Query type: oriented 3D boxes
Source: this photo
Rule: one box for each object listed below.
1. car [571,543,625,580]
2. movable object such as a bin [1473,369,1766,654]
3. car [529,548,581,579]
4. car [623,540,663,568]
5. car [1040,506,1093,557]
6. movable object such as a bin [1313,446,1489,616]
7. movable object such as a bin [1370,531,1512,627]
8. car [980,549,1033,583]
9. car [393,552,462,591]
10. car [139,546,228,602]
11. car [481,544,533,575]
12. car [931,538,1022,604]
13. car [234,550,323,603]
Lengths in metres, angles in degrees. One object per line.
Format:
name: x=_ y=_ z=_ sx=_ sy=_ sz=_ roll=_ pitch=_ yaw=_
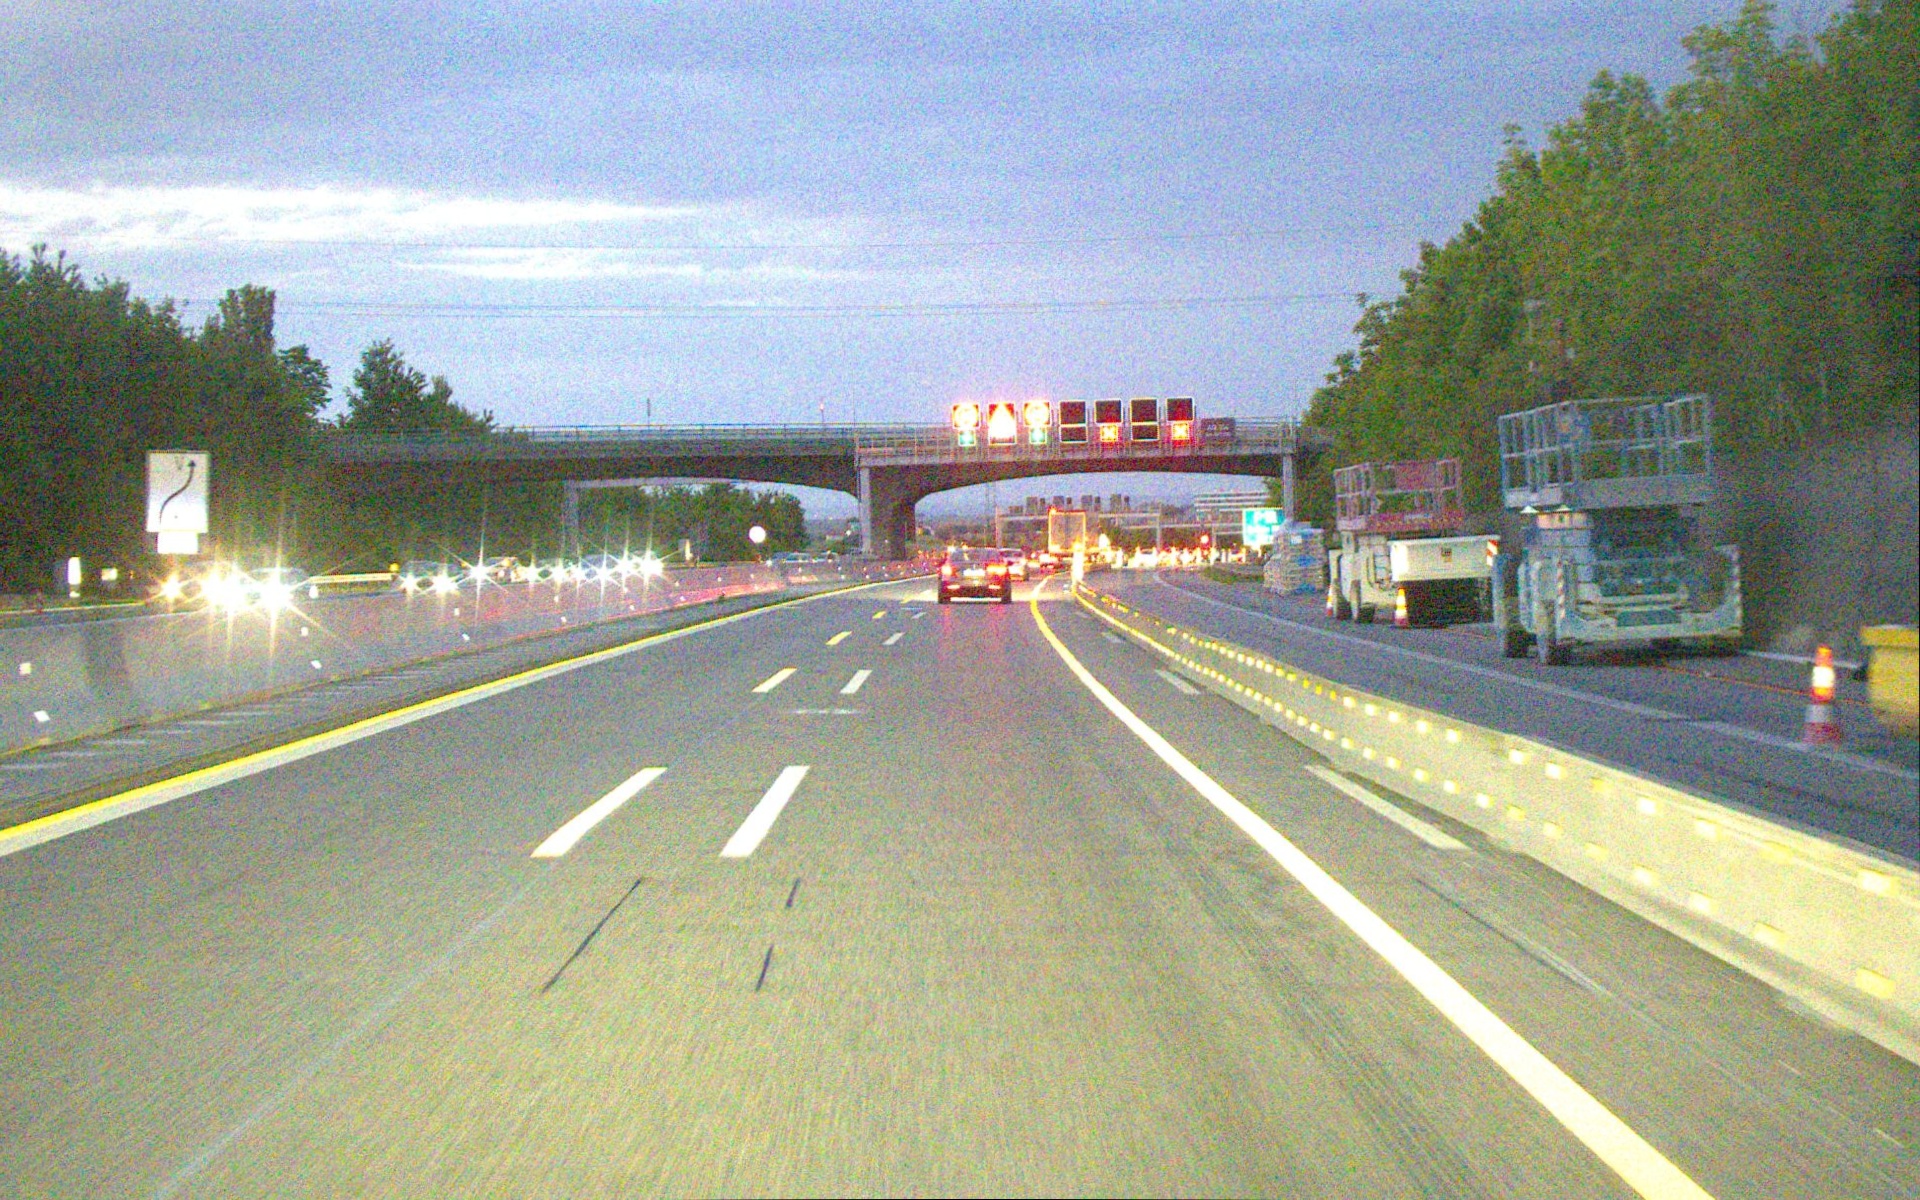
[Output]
car: x=-17.528 y=-1.865 z=166.829 sx=1.901 sy=1.732 sz=4.807 roll=1 pitch=1 yaw=2
movable object such as a bin: x=8.212 y=-1.073 z=43.431 sx=2.564 sy=3.306 sz=5.579 roll=-1 pitch=1 yaw=0
car: x=-19.952 y=-1.806 z=169.658 sx=1.810 sy=1.480 sz=4.701 roll=1 pitch=1 yaw=2
car: x=-19.548 y=-2.824 z=212.161 sx=1.804 sy=1.632 sz=4.751 roll=1 pitch=1 yaw=3
car: x=7.436 y=-4.766 z=240.149 sx=3.605 sy=3.384 sz=8.014 roll=1 pitch=1 yaw=2
movable object such as a bin: x=8.438 y=-1.300 z=66.388 sx=2.620 sy=3.097 sz=5.806 roll=-1 pitch=1 yaw=0
movable object such as a bin: x=8.552 y=-0.376 z=61.436 sx=1.993 sy=1.596 sz=4.084 roll=-2 pitch=0 yaw=1
car: x=2.038 y=-1.468 z=149.017 sx=1.972 sy=1.432 sz=3.999 roll=1 pitch=1 yaw=6
car: x=-20.610 y=-1.096 z=133.179 sx=1.750 sy=1.449 sz=4.670 roll=1 pitch=1 yaw=2
car: x=-24.814 y=-0.830 z=109.957 sx=1.750 sy=1.716 sz=4.670 roll=1 pitch=1 yaw=0
car: x=-22.830 y=-2.042 z=173.367 sx=1.825 sy=1.480 sz=4.701 roll=1 pitch=1 yaw=2
car: x=0.409 y=-0.748 z=88.215 sx=2.265 sy=1.616 sz=4.000 roll=1 pitch=1 yaw=0
car: x=-21.443 y=-0.747 z=108.338 sx=1.807 sy=1.583 sz=4.877 roll=1 pitch=1 yaw=0
